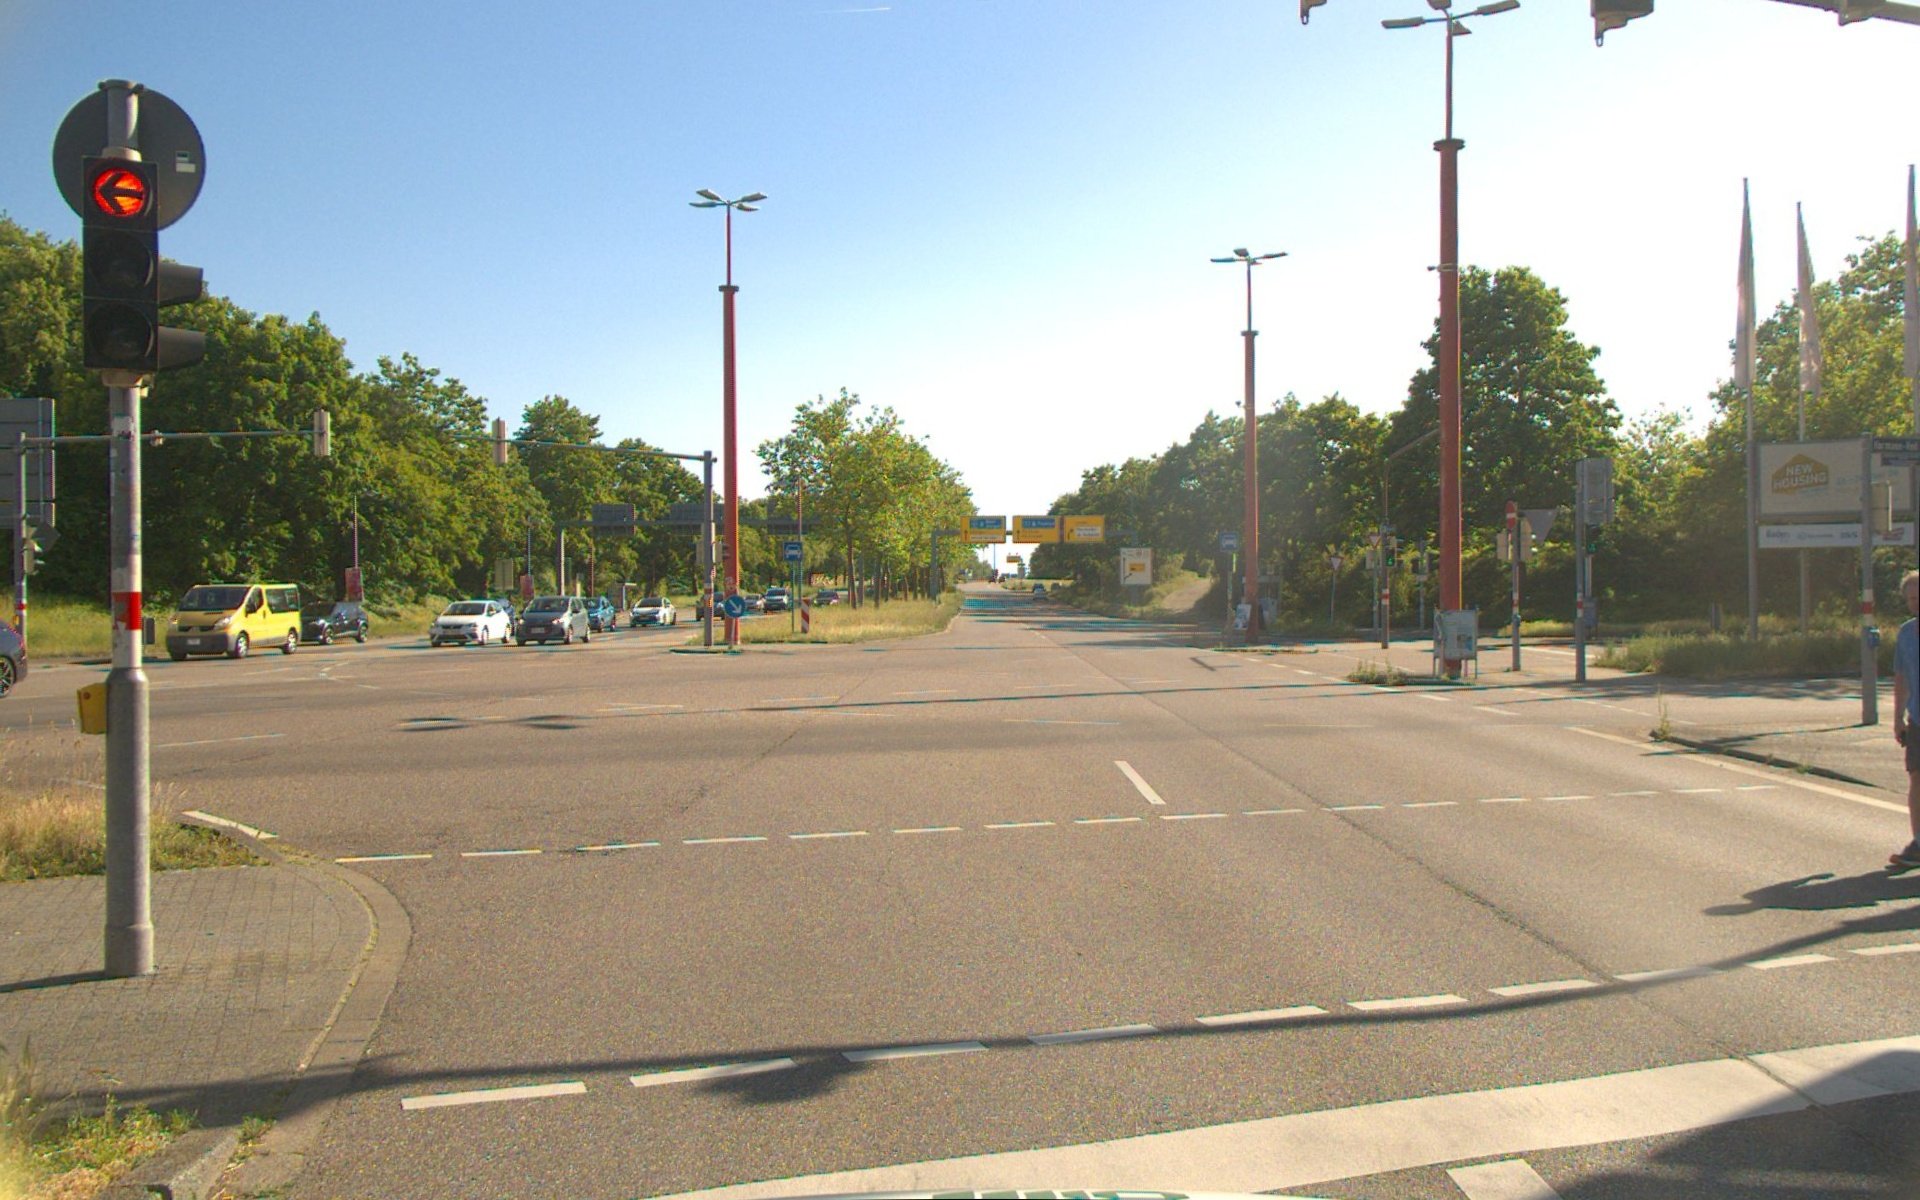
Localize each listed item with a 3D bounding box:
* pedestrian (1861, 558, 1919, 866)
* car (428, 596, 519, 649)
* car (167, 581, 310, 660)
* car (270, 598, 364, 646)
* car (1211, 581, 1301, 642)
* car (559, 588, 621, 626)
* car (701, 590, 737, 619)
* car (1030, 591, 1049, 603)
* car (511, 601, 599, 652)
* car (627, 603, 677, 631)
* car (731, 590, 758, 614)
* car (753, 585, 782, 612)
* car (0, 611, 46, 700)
[{"bbox_3d":[6.086,0.658,9.935,0.883,1.820,0.890,0,0,-34],"label":"pedestrian"},{"bbox_3d":[-15.838,0.714,54.040,1.668,1.624,4.001,1,0,2],"label":"car"},{"bbox_3d":[-19.542,0.539,45.049,1.721,2.022,4.789,1,0,1],"label":"car"},{"bbox_3d":[-23.692,0.788,61.063,1.953,1.667,3.999,1,0,-1],"label":"car"},{"bbox_3d":[9.672,0.345,53.868,1.954,1.920,3.998,0,0,25],"label":"car"},{"bbox_3d":[-15.727,0.297,70.483,1.668,1.586,3.804,1,0,1],"label":"car"},{"bbox_3d":[-14.889,0.277,102.428,1.592,1.769,4.001,0,0,1],"label":"car"},{"bbox_3d":[9.648,-0.352,200.630,2.012,1.395,4.391,0,0,-1],"label":"car"},{"bbox_3d":[-12.655,0.813,51.890,1.666,1.446,4.000,3,0,1],"label":"car"},{"bbox_3d":[-15.707,0.850,84.522,1.963,1.330,3.998,0,0,-2],"label":"car"},{"bbox_3d":[-18.885,0.144,145.181,1.963,2.049,3.998,1,0,-2],"label":"car"},{"bbox_3d":[-15.352,-0.109,131.845,1.963,2.049,3.998,1,0,-2],"label":"car"},{"bbox_3d":[-15.894,0.884,24.835,1.595,1.392,4.797,0,0,1],"label":"car"}]
